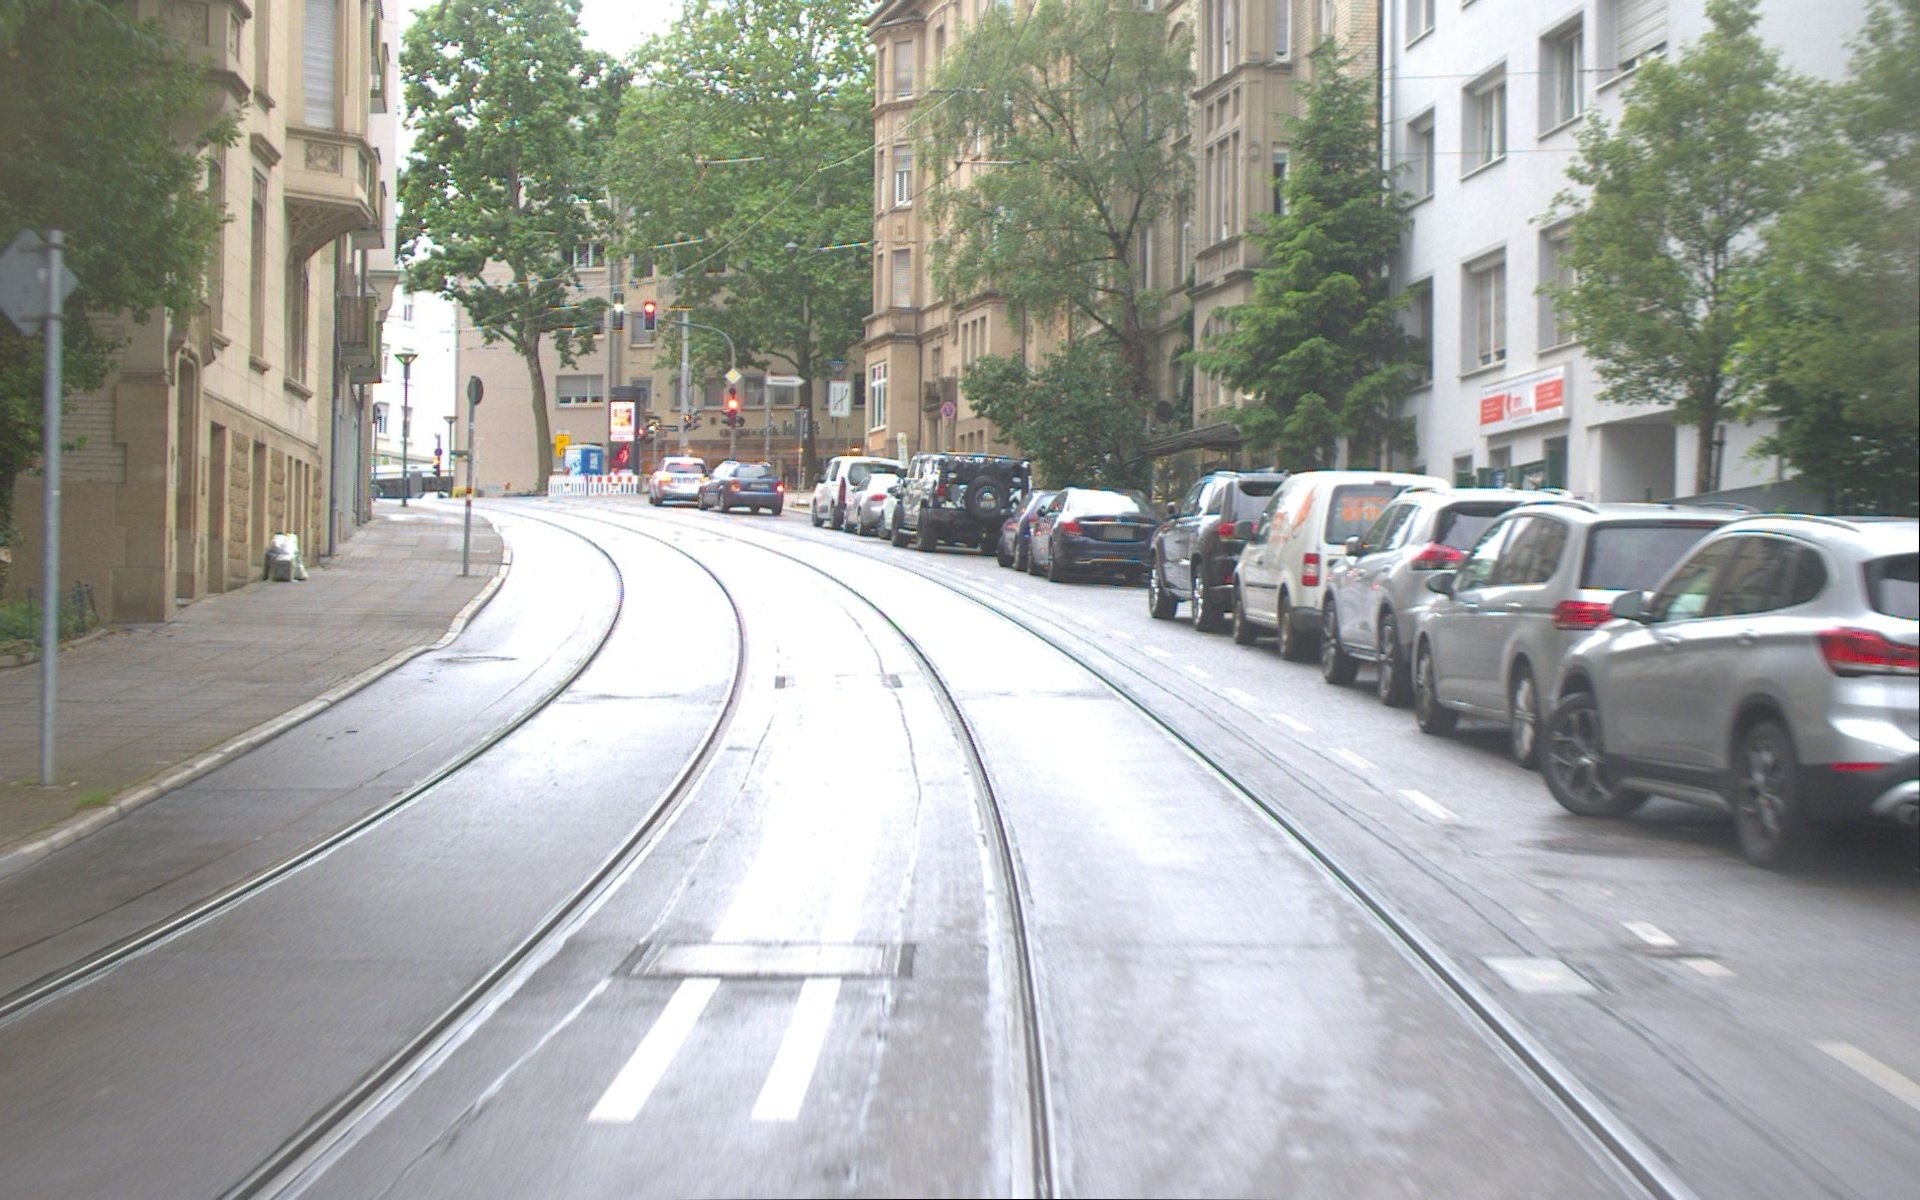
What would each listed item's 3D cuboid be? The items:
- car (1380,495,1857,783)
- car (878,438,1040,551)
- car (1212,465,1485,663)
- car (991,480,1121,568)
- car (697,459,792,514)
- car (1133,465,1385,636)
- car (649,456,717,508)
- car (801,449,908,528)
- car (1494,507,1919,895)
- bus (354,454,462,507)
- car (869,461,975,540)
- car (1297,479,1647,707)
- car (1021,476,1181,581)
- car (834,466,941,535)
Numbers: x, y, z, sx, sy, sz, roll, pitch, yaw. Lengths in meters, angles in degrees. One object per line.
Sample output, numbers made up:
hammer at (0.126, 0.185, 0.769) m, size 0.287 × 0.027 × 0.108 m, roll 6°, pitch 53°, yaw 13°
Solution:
car at (4.164, 0.165, 22.555) m, size 1.832 × 1.622 × 4.665 m, roll 1°, pitch 2°, yaw -5°
car at (-0.075, -2.110, 67.509) m, size 2.128 × 2.006 × 5.352 m, roll 3°, pitch 2°, yaw -11°
car at (3.793, -0.410, 34.327) m, size 1.778 × 1.789 × 4.472 m, roll 2°, pitch 2°, yaw -5°
car at (1.569, -1.296, 57.481) m, size 1.678 × 1.333 × 3.884 m, roll 2°, pitch 2°, yaw -5°
car at (-6.131, -3.226, 97.320) m, size 1.710 × 1.410 × 4.038 m, roll 1°, pitch 3°, yaw -18°
car at (3.362, -0.618, 39.688) m, size 1.942 × 1.789 × 4.822 m, roll 2°, pitch 2°, yaw -6°
car at (-8.333, -3.550, 103.197) m, size 1.710 × 1.451 × 3.554 m, roll 2°, pitch 3°, yaw -9°
car at (-2.590, -2.724, 83.586) m, size 1.797 × 1.759 × 4.465 m, roll 3°, pitch 2°, yaw -11°
car at (4.253, 0.386, 16.841) m, size 1.974 × 1.579 × 4.568 m, roll 1°, pitch 2°, yaw -8°
bus at (-30.466, -6.657, 190.130) m, size 2.856 × 2.851 × 8.729 m, roll 1°, pitch 3°, yaw 13°
car at (-0.840, -2.137, 73.464) m, size 1.559 × 1.540 × 3.586 m, roll 3°, pitch 2°, yaw -11°
car at (4.085, -0.128, 28.210) m, size 1.832 × 1.650 × 4.688 m, roll 2°, pitch 2°, yaw -4°
car at (2.114, -1.131, 52.915) m, size 1.794 × 1.432 × 4.612 m, roll 2°, pitch 2°, yaw -6°
car at (-1.674, -2.287, 78.228) m, size 1.748 × 1.395 × 4.480 m, roll 3°, pitch 2°, yaw -9°
